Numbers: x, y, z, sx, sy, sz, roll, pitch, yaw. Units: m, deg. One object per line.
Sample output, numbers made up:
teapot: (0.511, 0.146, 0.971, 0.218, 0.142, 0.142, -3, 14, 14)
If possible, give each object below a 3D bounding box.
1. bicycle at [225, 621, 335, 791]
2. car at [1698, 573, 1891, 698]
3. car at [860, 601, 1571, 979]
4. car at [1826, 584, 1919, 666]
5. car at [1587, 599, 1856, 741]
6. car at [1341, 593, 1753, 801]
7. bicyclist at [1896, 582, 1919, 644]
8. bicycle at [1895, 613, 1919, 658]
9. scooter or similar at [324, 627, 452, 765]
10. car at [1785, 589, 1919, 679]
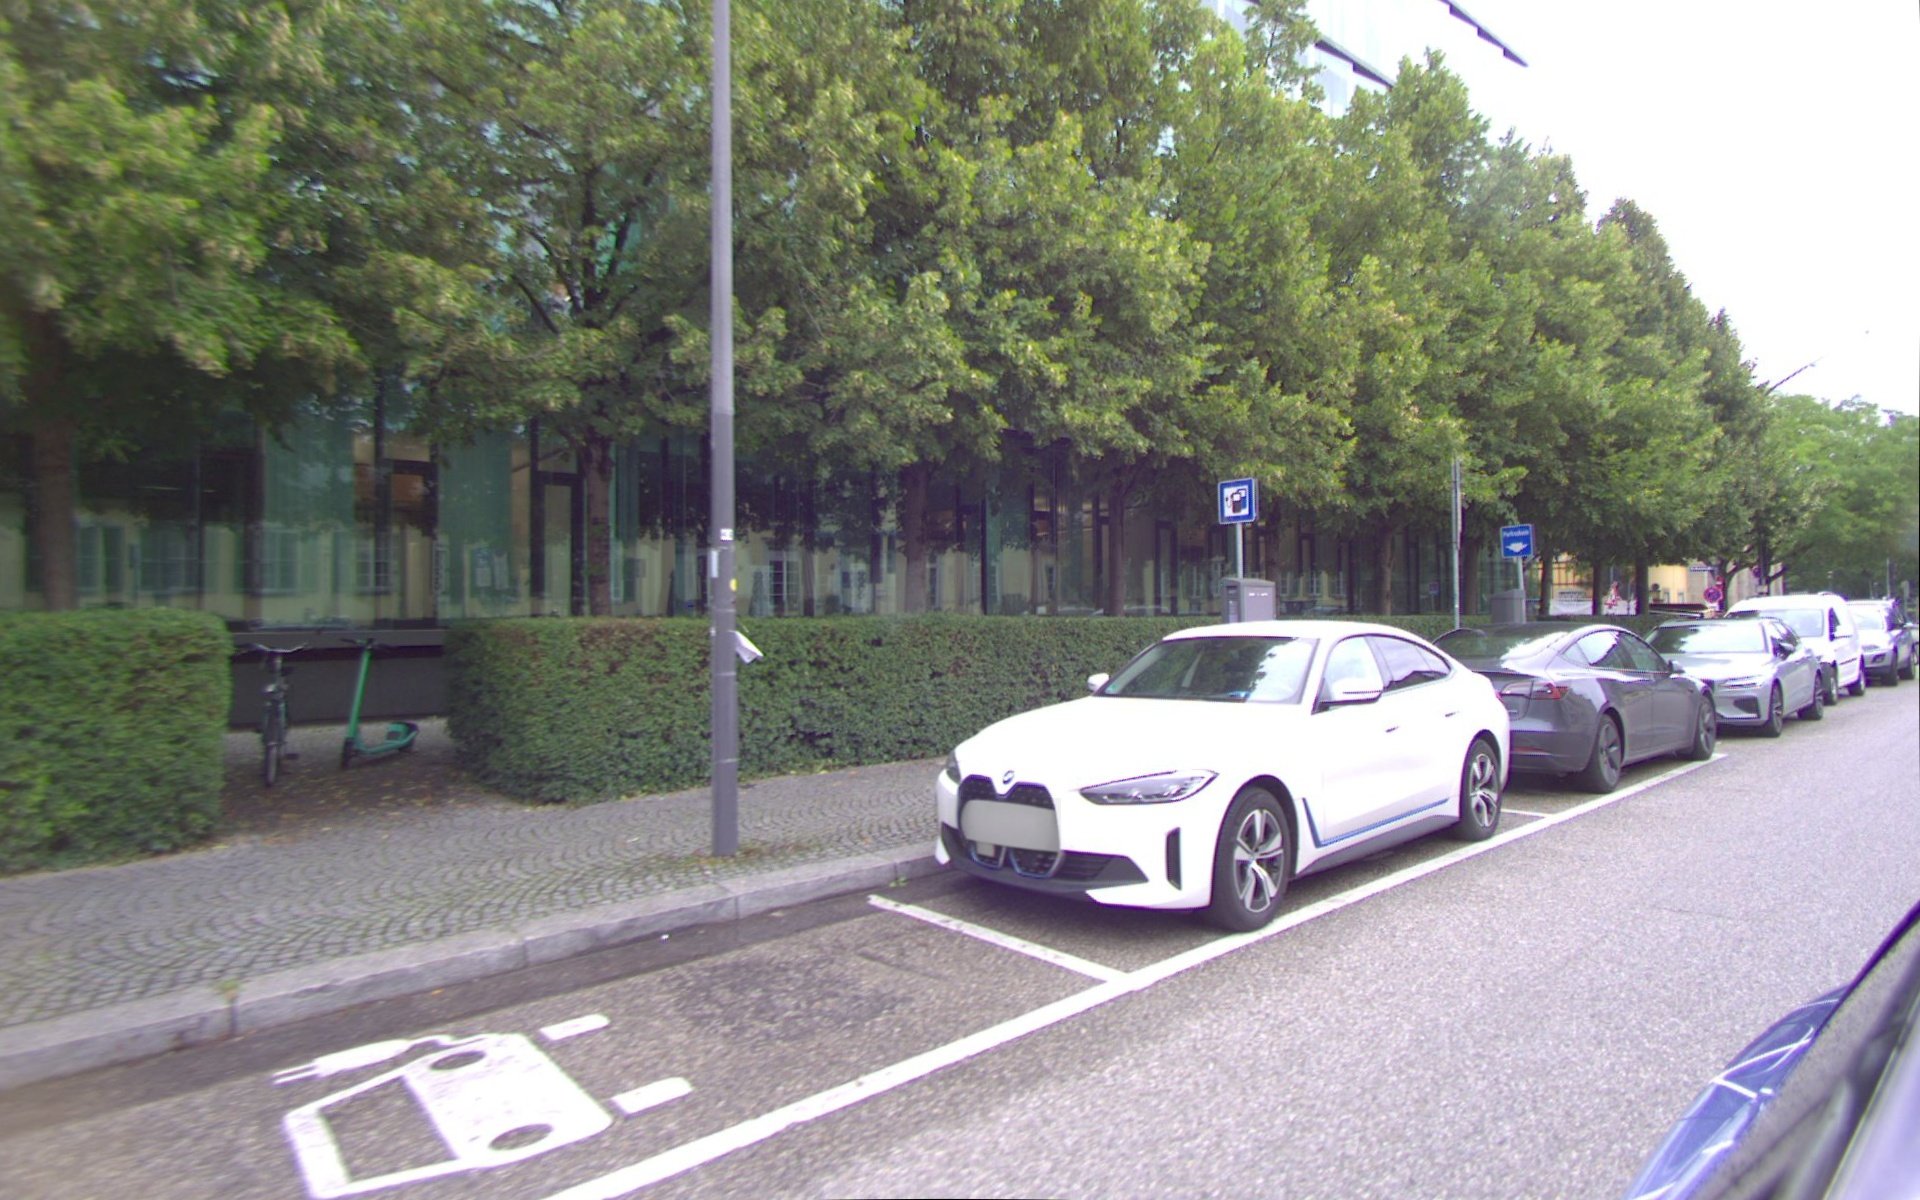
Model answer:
bicycle: (-5.807, 0.829, 8.723, 0.621, 1.285, 1.947, 0, -1, -29)
car: (14.615, 0.564, 17.635, 4.493, 1.920, 1.787, 0, -2, -41)
car: (1.929, 0.791, 6.417, 4.872, 1.479, 1.995, 0, -2, -42)
car: (22.549, 0.579, 24.646, 4.276, 1.831, 1.810, 0, -2, -45)
car: (10.400, 0.816, 13.667, 4.919, 1.572, 1.949, 0, -2, -42)
car: (5.940, 0.765, 9.980, 4.763, 1.572, 1.965, 0, -2, -40)
bicyclist: (26.518, 0.359, 27.828, 1.013, 1.689, 0.781, 1, -3, -28)
bicycle: (26.582, 0.975, 27.829, 1.764, 1.222, 0.721, 1, -3, -29)
scooter or similar: (-5.418, 0.873, 9.650, 0.447, 1.215, 1.192, -1, -1, 7)
car: (19.167, 0.669, 21.433, 4.702, 1.713, 1.869, 0, -2, -42)
